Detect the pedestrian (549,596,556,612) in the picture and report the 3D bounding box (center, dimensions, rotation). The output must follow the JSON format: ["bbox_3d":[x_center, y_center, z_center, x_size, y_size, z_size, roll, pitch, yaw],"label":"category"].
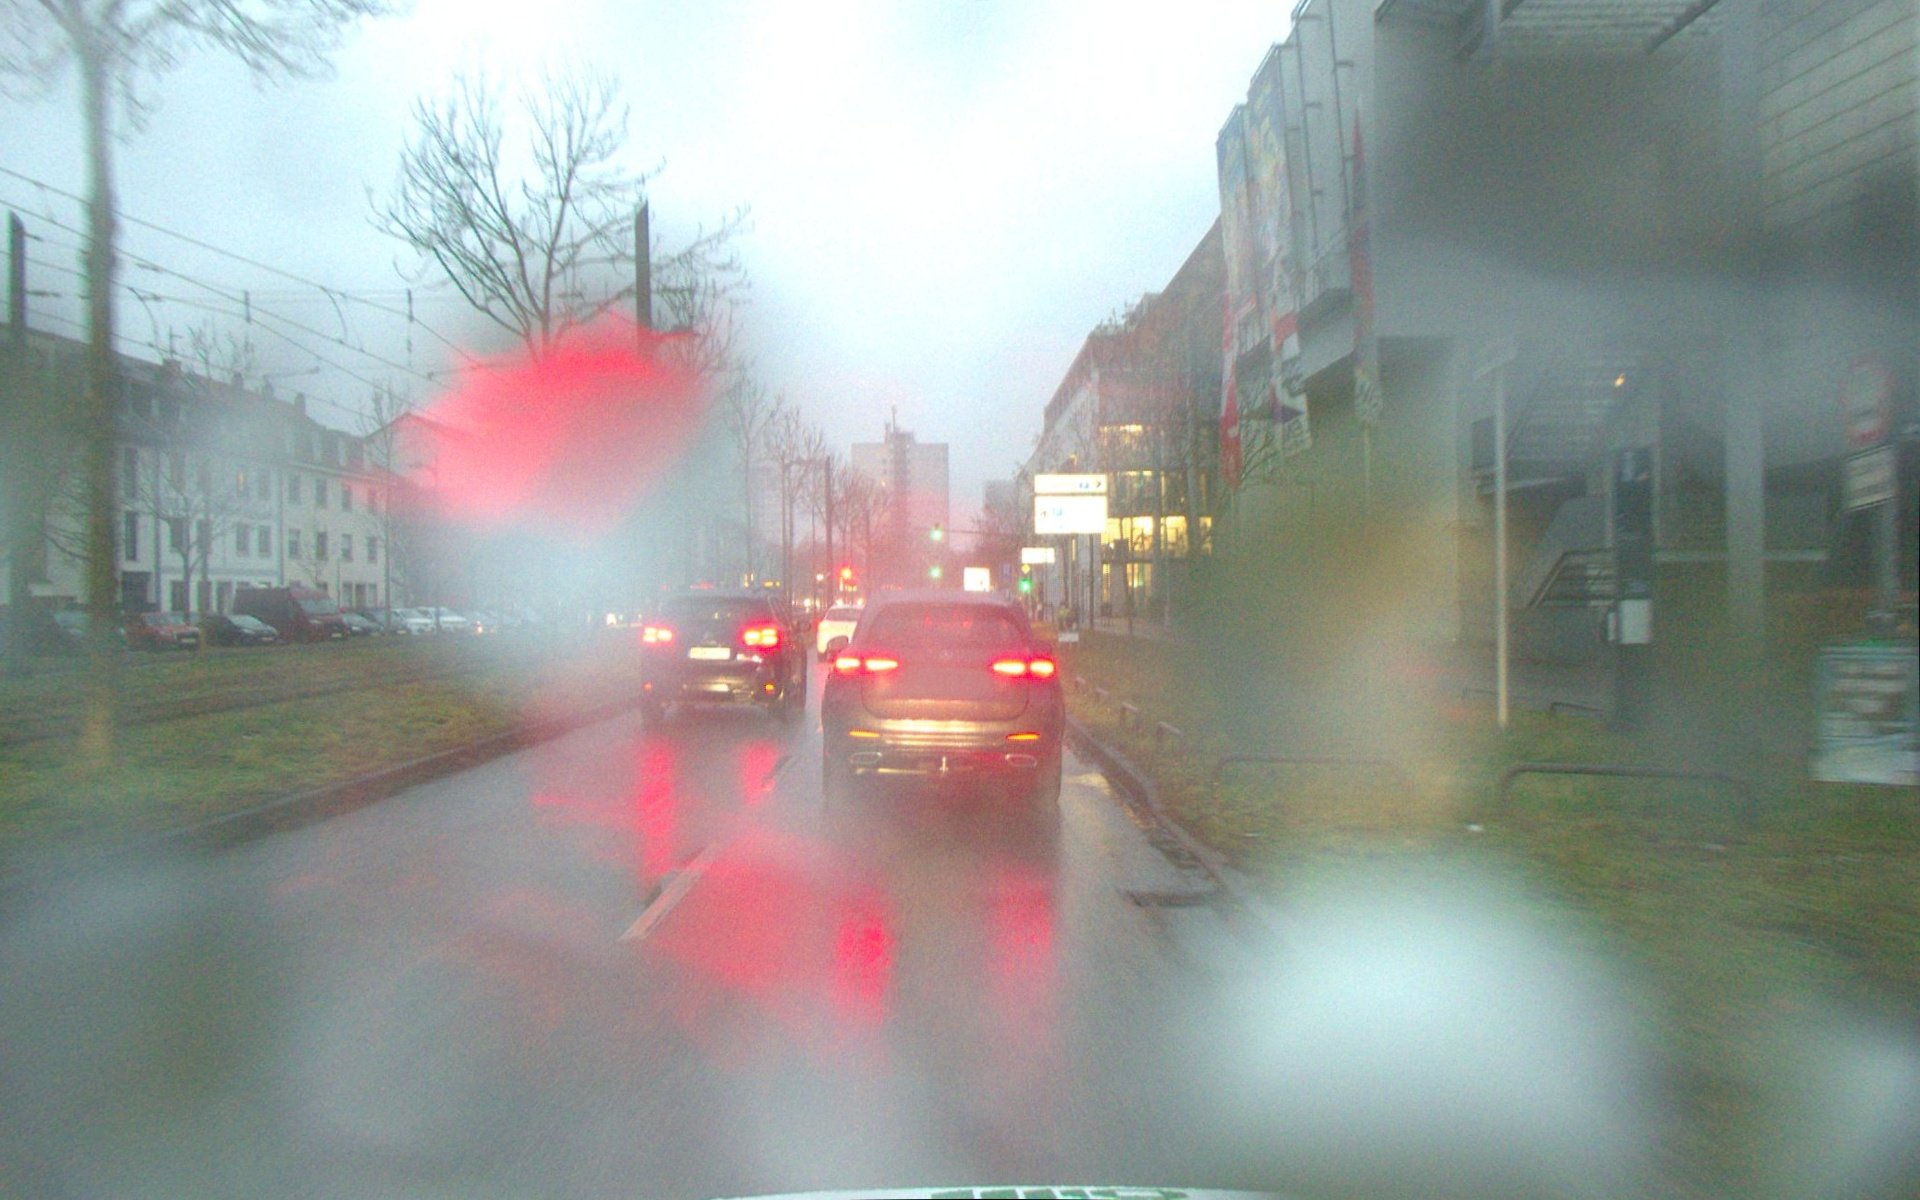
[{"bbox_3d":[-31.128,0.296,126.214,0.343,1.205,0.427,2,-1,-42],"label":"pedestrian"}]

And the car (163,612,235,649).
[{"bbox_3d":[-29.039,1.165,63.091,3.040,1.325,1.381,1,0,41],"label":"car"}]

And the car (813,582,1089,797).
[{"bbox_3d":[-0.098,0.656,13.755,1.953,1.509,3.699,1,0,-1],"label":"car"}]

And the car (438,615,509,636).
[{"bbox_3d":[-28.656,1.498,97.402,4.098,1.135,1.678,1,0,30],"label":"car"}]

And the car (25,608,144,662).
[{"bbox_3d":[-27.678,1.082,52.260,4.079,1.568,1.664,1,0,35],"label":"car"}]

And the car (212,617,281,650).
[{"bbox_3d":[-28.257,1.320,65.461,2.835,1.225,1.381,1,0,41],"label":"car"}]

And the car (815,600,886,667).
[{"bbox_3d":[-2.843,0.848,43.513,1.655,1.664,3.473,1,0,-1],"label":"car"}]

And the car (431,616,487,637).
[{"bbox_3d":[-28.614,1.506,94.470,2.978,1.167,1.394,1,0,30],"label":"car"}]

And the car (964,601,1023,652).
[{"bbox_3d":[1.108,0.856,53.993,1.828,1.570,3.611,1,0,2],"label":"car"}]

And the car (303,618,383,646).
[{"bbox_3d":[-28.999,1.495,77.687,3.464,1.233,1.744,1,0,31],"label":"car"}]

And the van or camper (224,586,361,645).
[{"bbox_3d":[-29.115,0.660,72.038,6.737,2.401,1.994,1,0,33],"label":"van or camper"}]

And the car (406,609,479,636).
[{"bbox_3d":[-28.590,1.236,91.394,4.042,1.402,1.766,1,0,36],"label":"car"}]

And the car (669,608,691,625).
[{"bbox_3d":[-27.312,1.582,161.593,1.581,1.651,3.508,1,0,-1],"label":"car"}]

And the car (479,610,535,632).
[{"bbox_3d":[-28.784,1.343,105.011,3.691,1.360,1.448,0,0,35],"label":"car"}]

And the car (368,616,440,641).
[{"bbox_3d":[-28.357,1.427,84.305,3.345,1.167,1.688,1,0,31],"label":"car"}]

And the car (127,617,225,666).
[{"bbox_3d":[-27.828,1.442,58.651,3.779,1.616,1.732,1,0,41],"label":"car"}]

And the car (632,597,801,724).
[{"bbox_3d":[-3.083,0.726,21.662,1.781,1.476,3.998,1,0,-3],"label":"car"}]

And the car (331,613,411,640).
[{"bbox_3d":[-28.798,1.266,80.880,3.464,1.221,1.878,1,0,31],"label":"car"}]

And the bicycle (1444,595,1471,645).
[{"bbox_3d":[13.422,0.536,44.599,0.402,1.307,1.742,1,0,26],"label":"bicycle"}]
